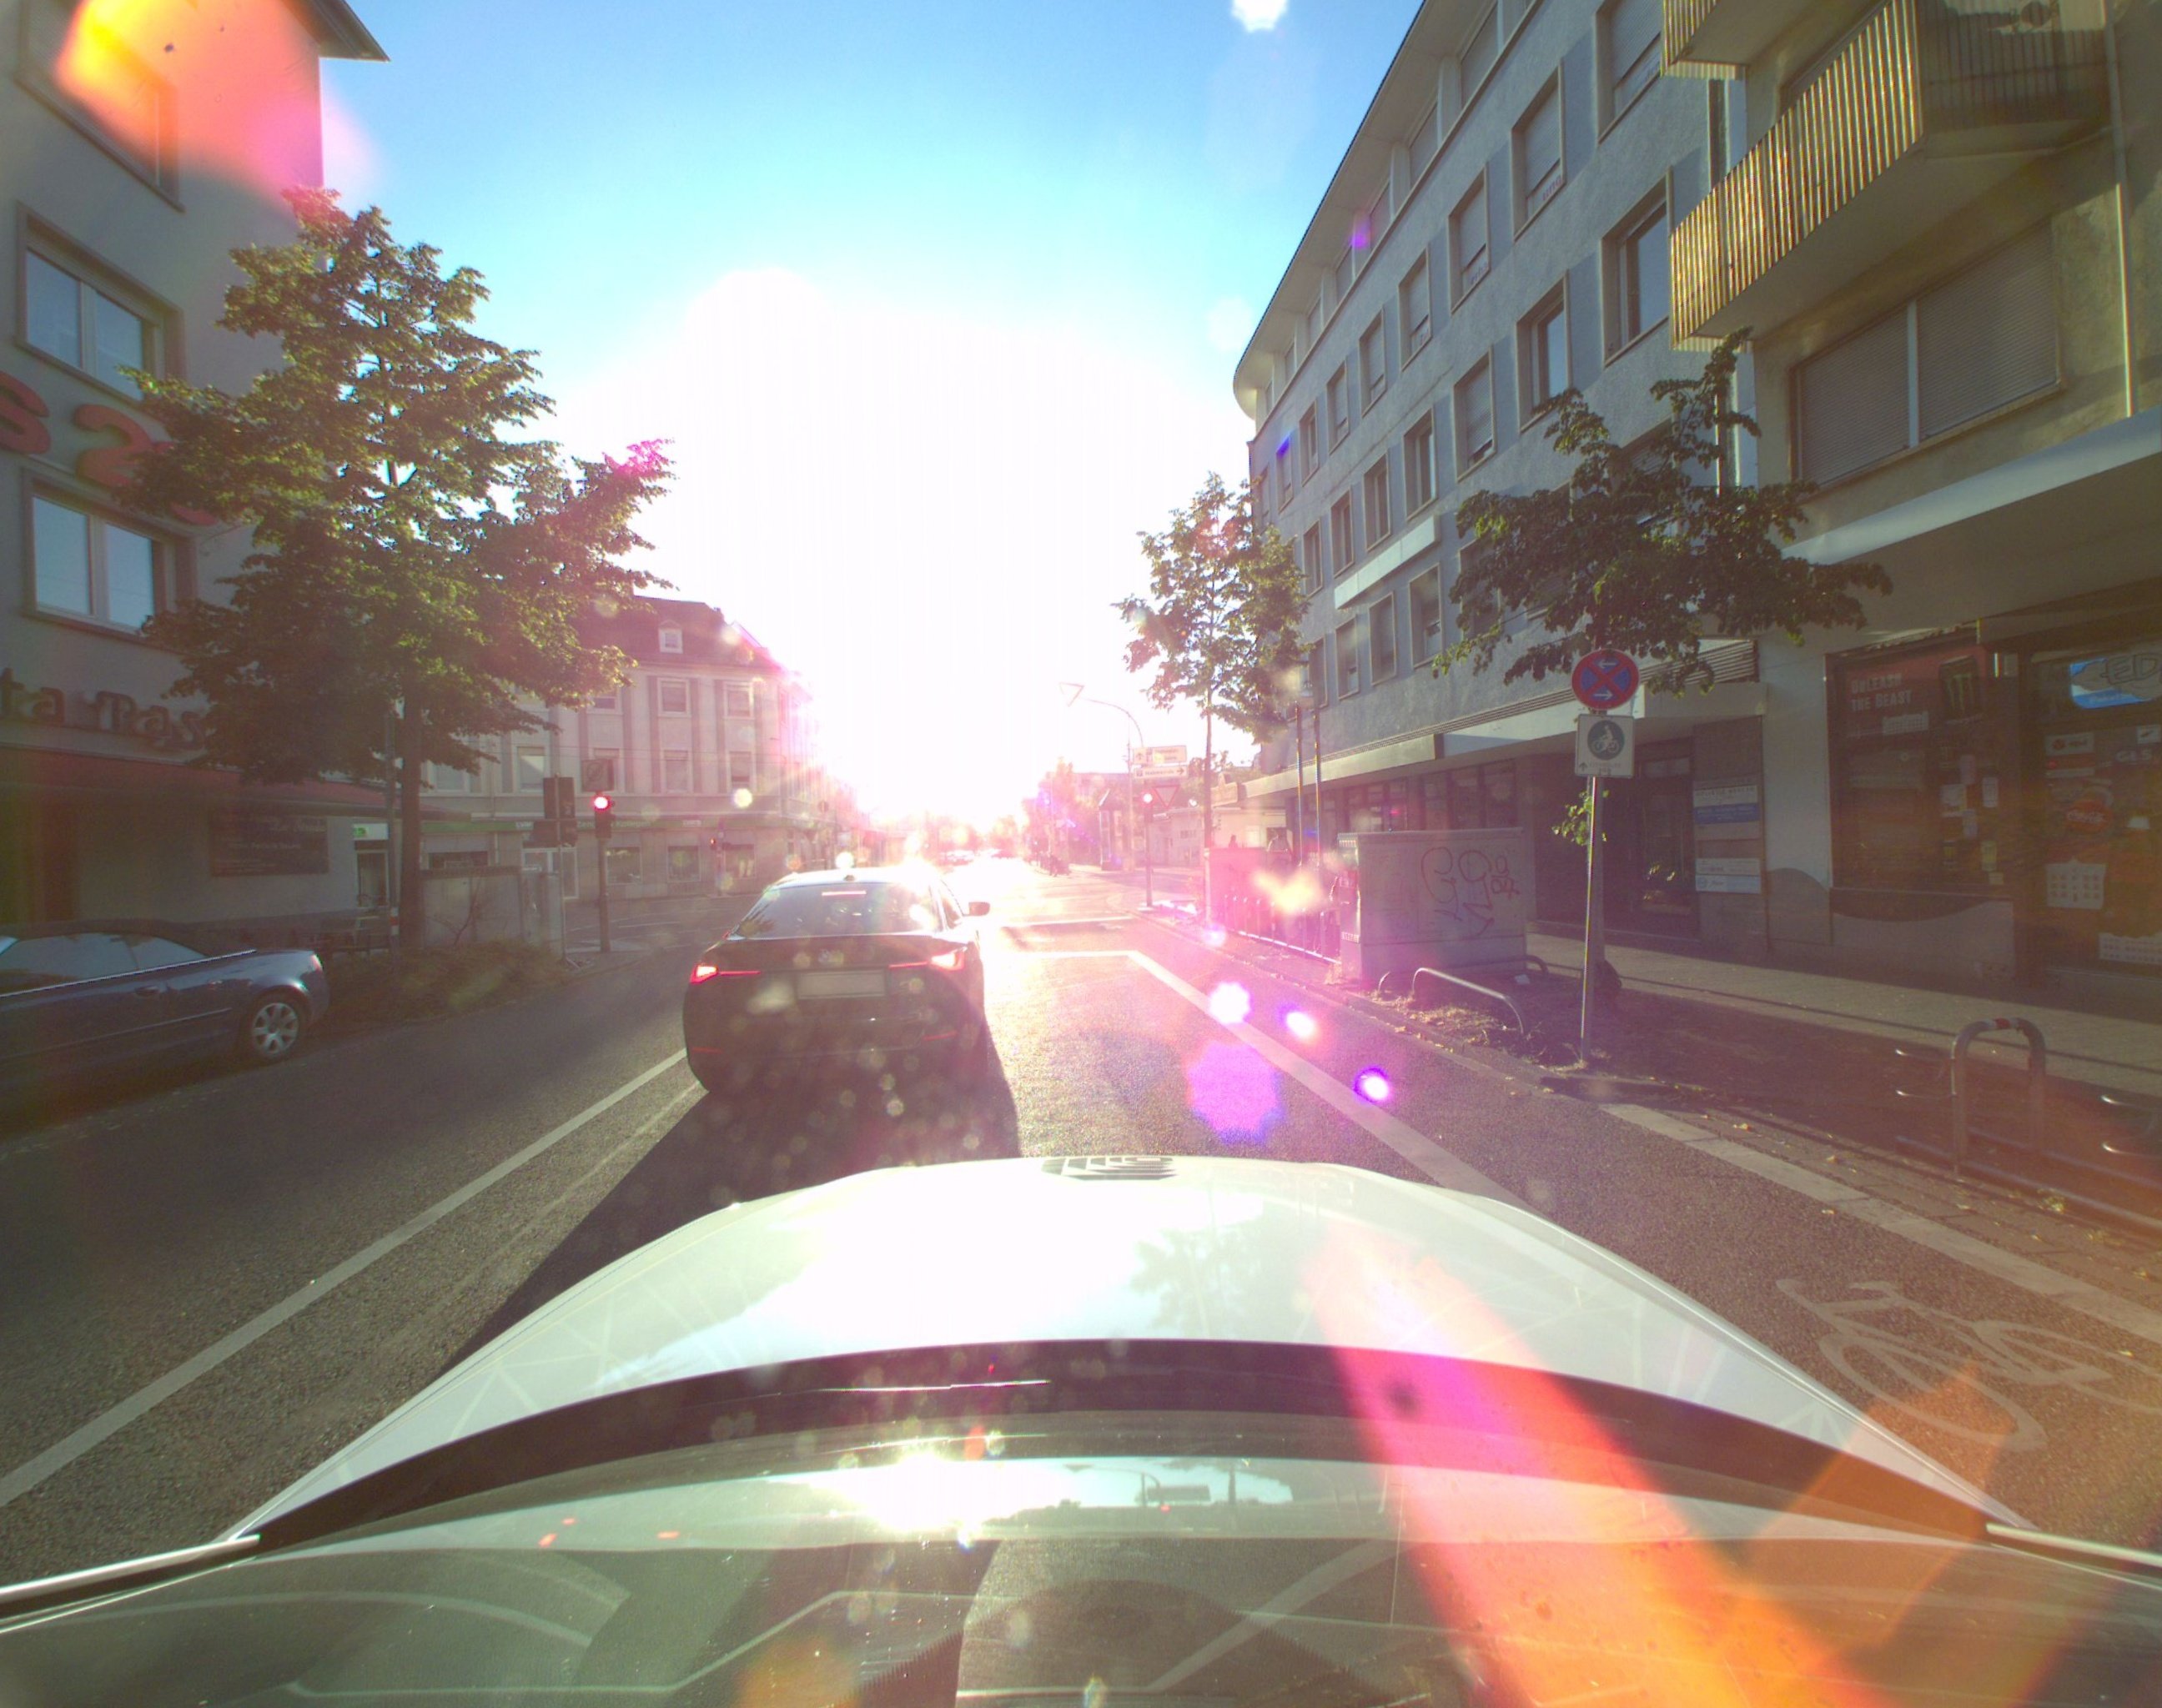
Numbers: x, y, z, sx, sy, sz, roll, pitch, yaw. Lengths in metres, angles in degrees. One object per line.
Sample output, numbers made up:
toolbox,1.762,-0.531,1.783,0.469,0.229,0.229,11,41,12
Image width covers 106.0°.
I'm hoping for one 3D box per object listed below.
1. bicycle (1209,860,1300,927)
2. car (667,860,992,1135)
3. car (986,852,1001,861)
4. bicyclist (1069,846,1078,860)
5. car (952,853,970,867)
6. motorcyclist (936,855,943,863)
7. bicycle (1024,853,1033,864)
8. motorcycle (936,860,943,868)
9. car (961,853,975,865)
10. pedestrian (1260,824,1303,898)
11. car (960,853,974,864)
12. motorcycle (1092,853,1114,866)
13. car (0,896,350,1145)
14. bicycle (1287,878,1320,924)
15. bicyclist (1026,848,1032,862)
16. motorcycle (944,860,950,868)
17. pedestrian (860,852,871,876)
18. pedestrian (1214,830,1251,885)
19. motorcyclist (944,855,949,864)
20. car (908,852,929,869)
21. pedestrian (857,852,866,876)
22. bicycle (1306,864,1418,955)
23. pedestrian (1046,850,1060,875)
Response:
bicycle,3.235,0.730,15.209,1.610,1.171,0.318,-2,0,-5
car,-1.645,0.801,6.656,1.735,1.428,4.213,-1,0,-7
car,-17.105,0.503,159.259,1.806,1.519,4.013,-2,0,11
bicyclist,-0.850,-0.103,88.642,0.879,1.505,0.613,0,0,5
car,-13.969,0.695,95.084,1.816,1.519,3.992,-2,0,-6
motorcyclist,-16.438,0.626,94.742,0.574,0.915,2.196,0,0,-6
bicycle,-5.878,0.508,90.918,0.551,1.159,2.133,-1,-1,-14
motorcycle,-16.440,1.158,94.732,0.574,0.915,2.196,0,0,-6
car,-15.752,0.657,113.818,1.816,1.519,3.992,-2,0,-6
pedestrian,5.162,0.183,20.970,0.834,1.841,0.677,-2,0,-6
car,-17.336,0.657,123.984,1.816,1.519,3.992,-2,0,-6
motorcycle,1.819,0.455,68.010,1.673,0.939,0.851,-2,0,-18
car,-7.639,1.158,5.543,1.721,1.415,4.270,-4,0,-7
bicycle,4.189,0.877,15.376,0.249,0.796,1.114,0,0,-4
bicyclist,-5.809,0.127,90.613,0.551,1.481,0.719,-1,-1,-15
motorcycle,-15.544,1.151,94.332,0.574,0.915,2.196,0,0,-6
pedestrian,-17.223,0.780,65.156,0.621,1.876,0.670,0,0,-44
pedestrian,5.343,0.125,28.702,1.007,1.860,0.634,-5,1,-27
motorcyclist,-15.534,0.619,94.234,0.574,0.995,0.701,0,0,-6
car,-17.499,0.682,87.719,1.816,1.788,3.992,-2,0,-6
pedestrian,-17.362,0.782,64.419,0.642,1.876,0.630,0,0,-7
bicycle,3.905,0.759,11.333,1.438,1.220,0.383,0,0,-5
pedestrian,-1.729,0.516,50.240,0.735,1.529,0.469,0,0,-22
